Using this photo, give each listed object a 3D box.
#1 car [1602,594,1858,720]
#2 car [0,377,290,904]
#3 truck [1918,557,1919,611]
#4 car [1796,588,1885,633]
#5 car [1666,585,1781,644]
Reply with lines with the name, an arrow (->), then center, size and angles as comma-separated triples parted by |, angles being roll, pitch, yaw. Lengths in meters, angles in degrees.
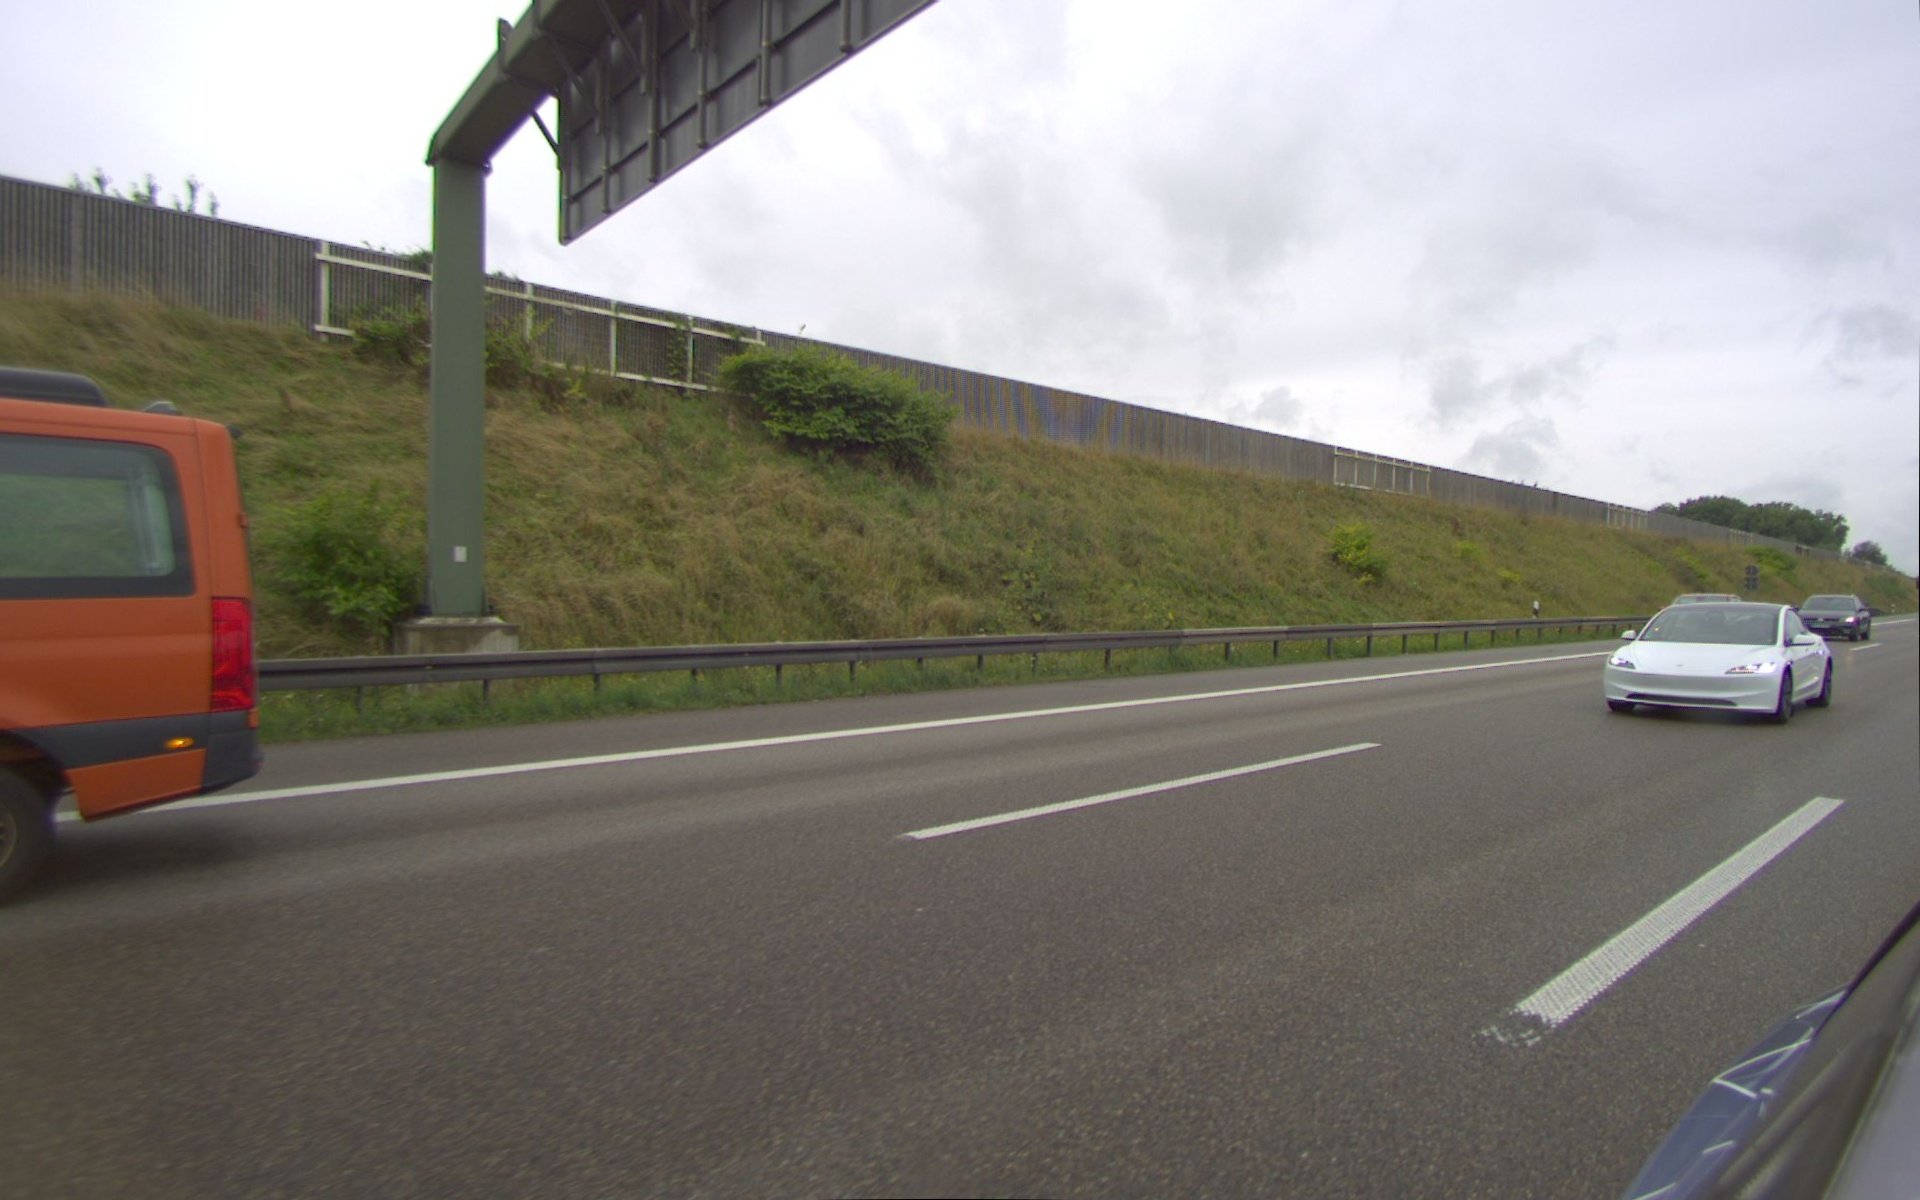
car -> 10.499, 0.628, 13.652 | 4.730, 1.380, 1.876 | -1, 1, -42
car -> -6.419, 0.163, 4.025 | 6.072, 2.344, 2.090 | 0, 1, -40
truck -> 75.853, -1.219, 77.548 | 6.839, 4.077, 3.085 | -1, 0, -43
car -> 31.987, 0.347, 36.724 | 4.409, 1.507, 1.927 | -1, 1, -42
car -> 21.526, 0.354, 28.493 | 3.932, 1.554, 1.876 | -1, 1, -42
